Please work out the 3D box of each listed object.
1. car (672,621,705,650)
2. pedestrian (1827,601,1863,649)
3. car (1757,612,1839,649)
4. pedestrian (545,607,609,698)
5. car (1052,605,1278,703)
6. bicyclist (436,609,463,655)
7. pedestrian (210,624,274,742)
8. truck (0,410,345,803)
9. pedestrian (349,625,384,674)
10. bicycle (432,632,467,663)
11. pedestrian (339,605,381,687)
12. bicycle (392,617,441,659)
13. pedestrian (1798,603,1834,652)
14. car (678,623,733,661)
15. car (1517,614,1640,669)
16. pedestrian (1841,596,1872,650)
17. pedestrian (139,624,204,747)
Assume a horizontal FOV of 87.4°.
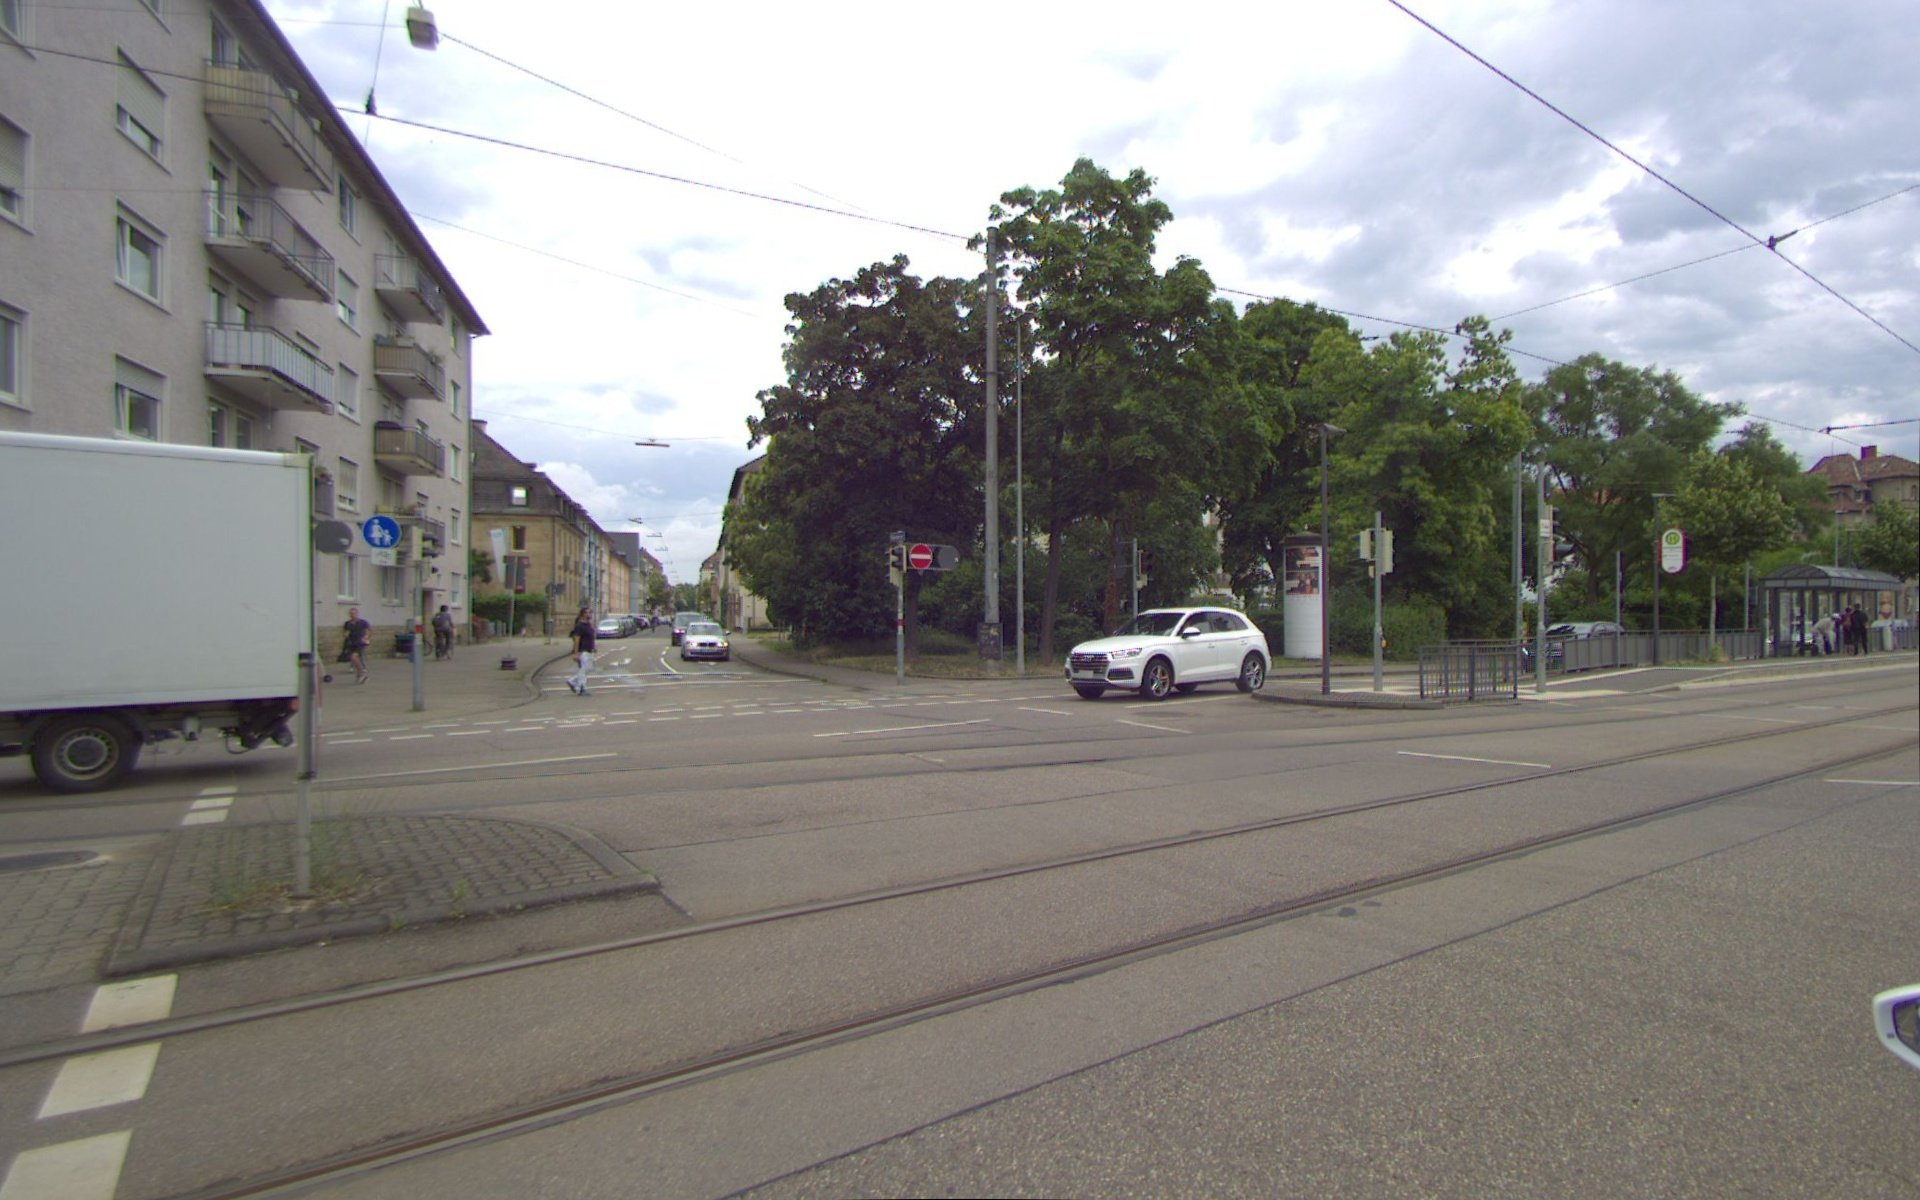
[{"bbox_3d":[-14.868,1.913,54.965,1.614,1.462,3.937,0,-1,-17],"label":"car"},{"bbox_3d":[31.294,0.873,35.500,1.016,1.682,0.763,0,-1,-38],"label":"pedestrian"},{"bbox_3d":[35.464,1.254,42.507,3.848,1.513,1.758,1,-1,-36],"label":"car"},{"bbox_3d":[-8.172,1.104,21.471,1.025,1.899,0.836,0,-1,1],"label":"pedestrian"},{"bbox_3d":[3.988,0.950,19.117,4.497,1.661,1.757,1,-1,-38],"label":"car"},{"bbox_3d":[-17.598,1.096,34.628,0.647,1.585,0.858,0,-1,-14],"label":"bicyclist"},{"bbox_3d":[-9.914,1.127,13.870,0.524,1.578,0.569,-1,-1,33],"label":"pedestrian"},{"bbox_3d":[-9.418,0.052,8.250,7.267,3.199,2.167,1,-1,-39],"label":"truck"},{"bbox_3d":[-16.082,1.324,27.218,0.680,1.305,0.728,0,-1,-19],"label":"pedestrian"},{"bbox_3d":[-17.605,1.623,34.667,0.645,1.016,1.960,0,-1,-14],"label":"bicycle"},{"bbox_3d":[-13.726,1.035,22.999,0.673,1.837,0.719,0,-1,-19],"label":"pedestrian"},{"bbox_3d":[-19.962,1.375,36.966,0.868,1.485,2.888,0,-1,-14],"label":"bicycle"},{"bbox_3d":[29.146,0.947,34.196,0.623,1.645,0.679,0,-1,-12],"label":"pedestrian"},{"bbox_3d":[-9.868,1.594,38.947,1.966,1.372,4.025,0,-1,-14],"label":"car"},{"bbox_3d":[18.483,1.180,29.945,4.498,1.513,1.756,1,-1,-39],"label":"car"},{"bbox_3d":[29.420,0.750,32.959,0.694,1.738,0.693,0,-1,-43],"label":"pedestrian"},{"bbox_3d":[-10.453,1.116,13.331,0.525,1.578,0.568,0,-1,-20],"label":"pedestrian"}]
